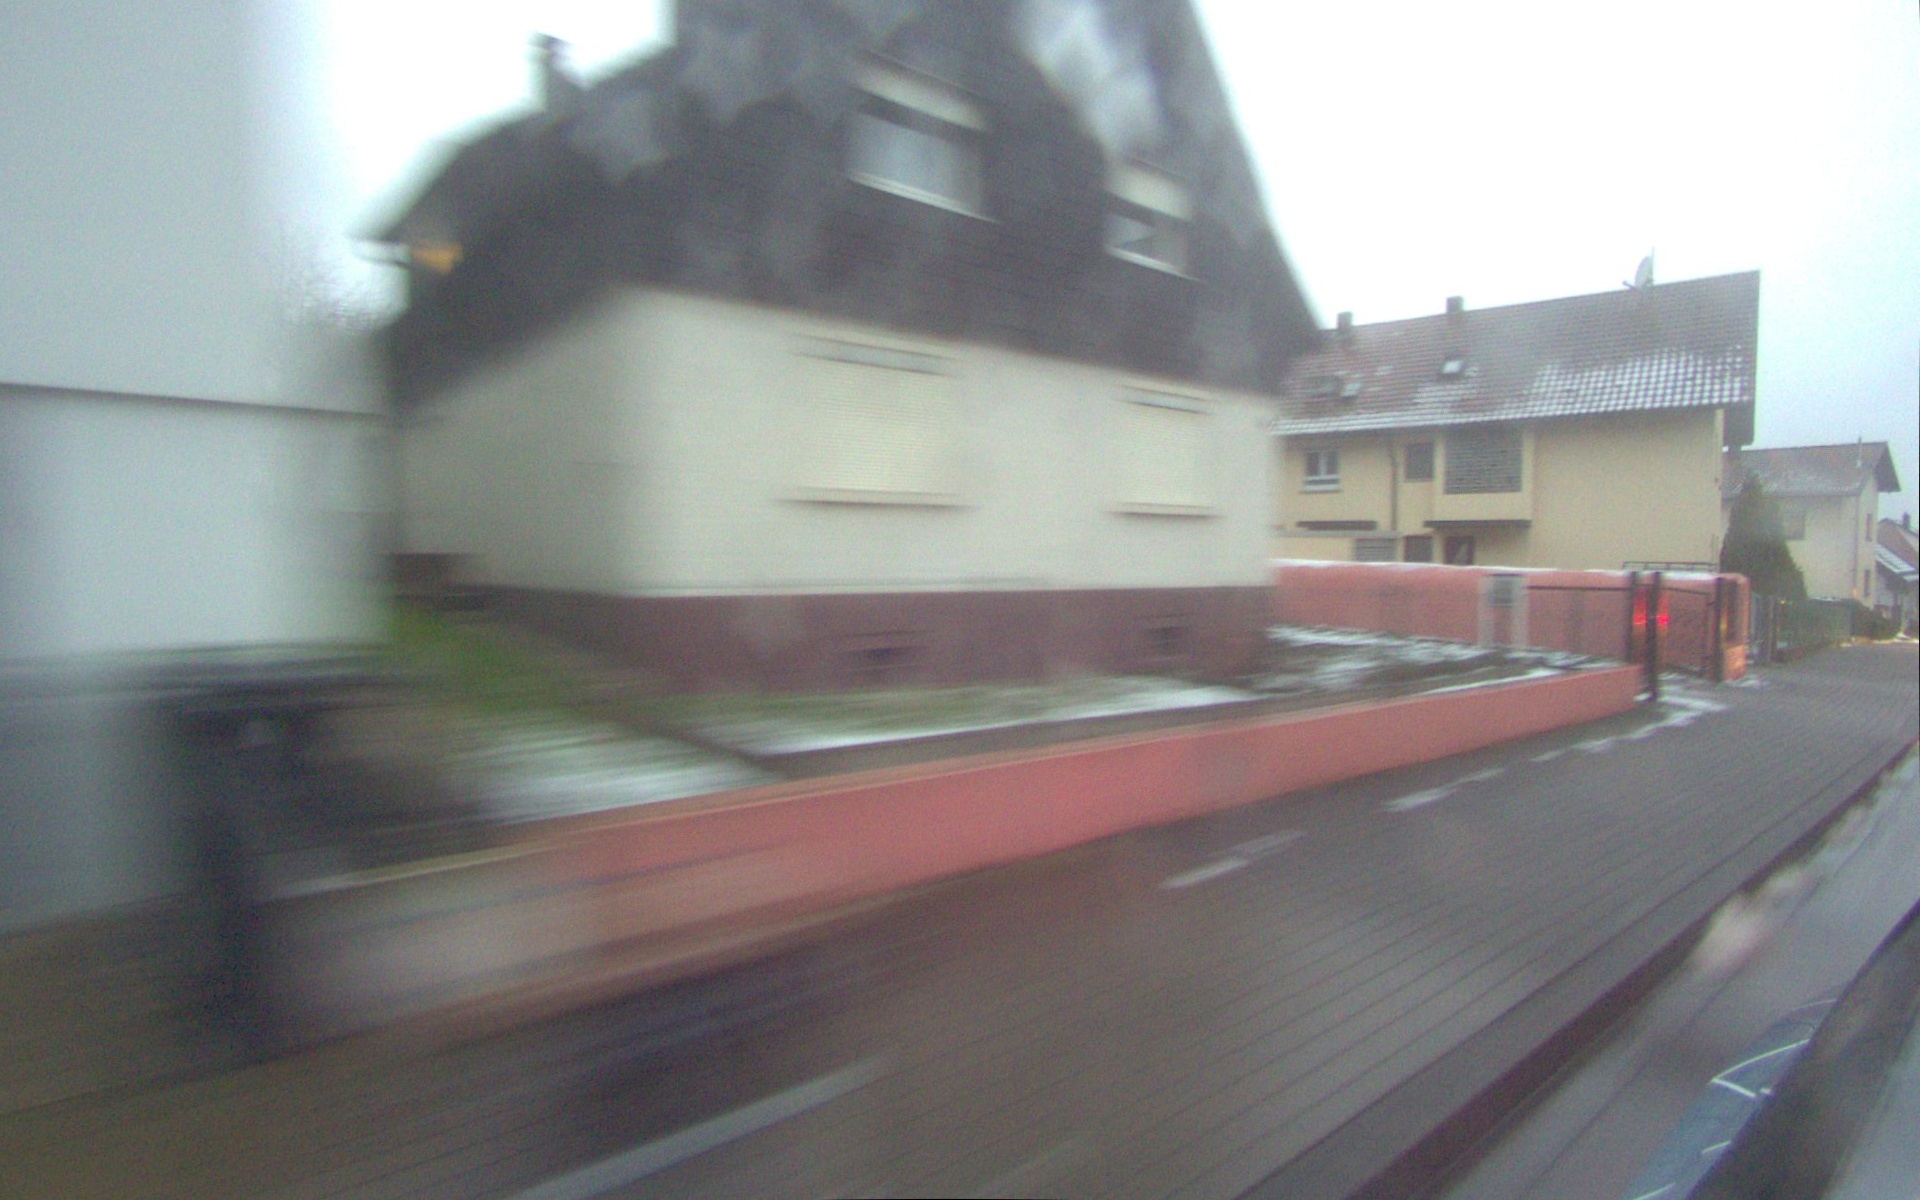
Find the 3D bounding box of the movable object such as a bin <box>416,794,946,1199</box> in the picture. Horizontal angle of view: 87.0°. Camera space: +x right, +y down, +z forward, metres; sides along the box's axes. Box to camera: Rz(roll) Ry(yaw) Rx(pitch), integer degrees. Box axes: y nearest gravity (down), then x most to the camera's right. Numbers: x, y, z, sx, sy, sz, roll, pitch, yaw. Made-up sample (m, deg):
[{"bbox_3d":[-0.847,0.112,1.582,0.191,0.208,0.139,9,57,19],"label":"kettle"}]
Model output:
[{"bbox_3d":[-0.458,0.888,1.567,0.584,0.957,0.616,-1,6,-38],"label":"movable object such as a bin"}]
